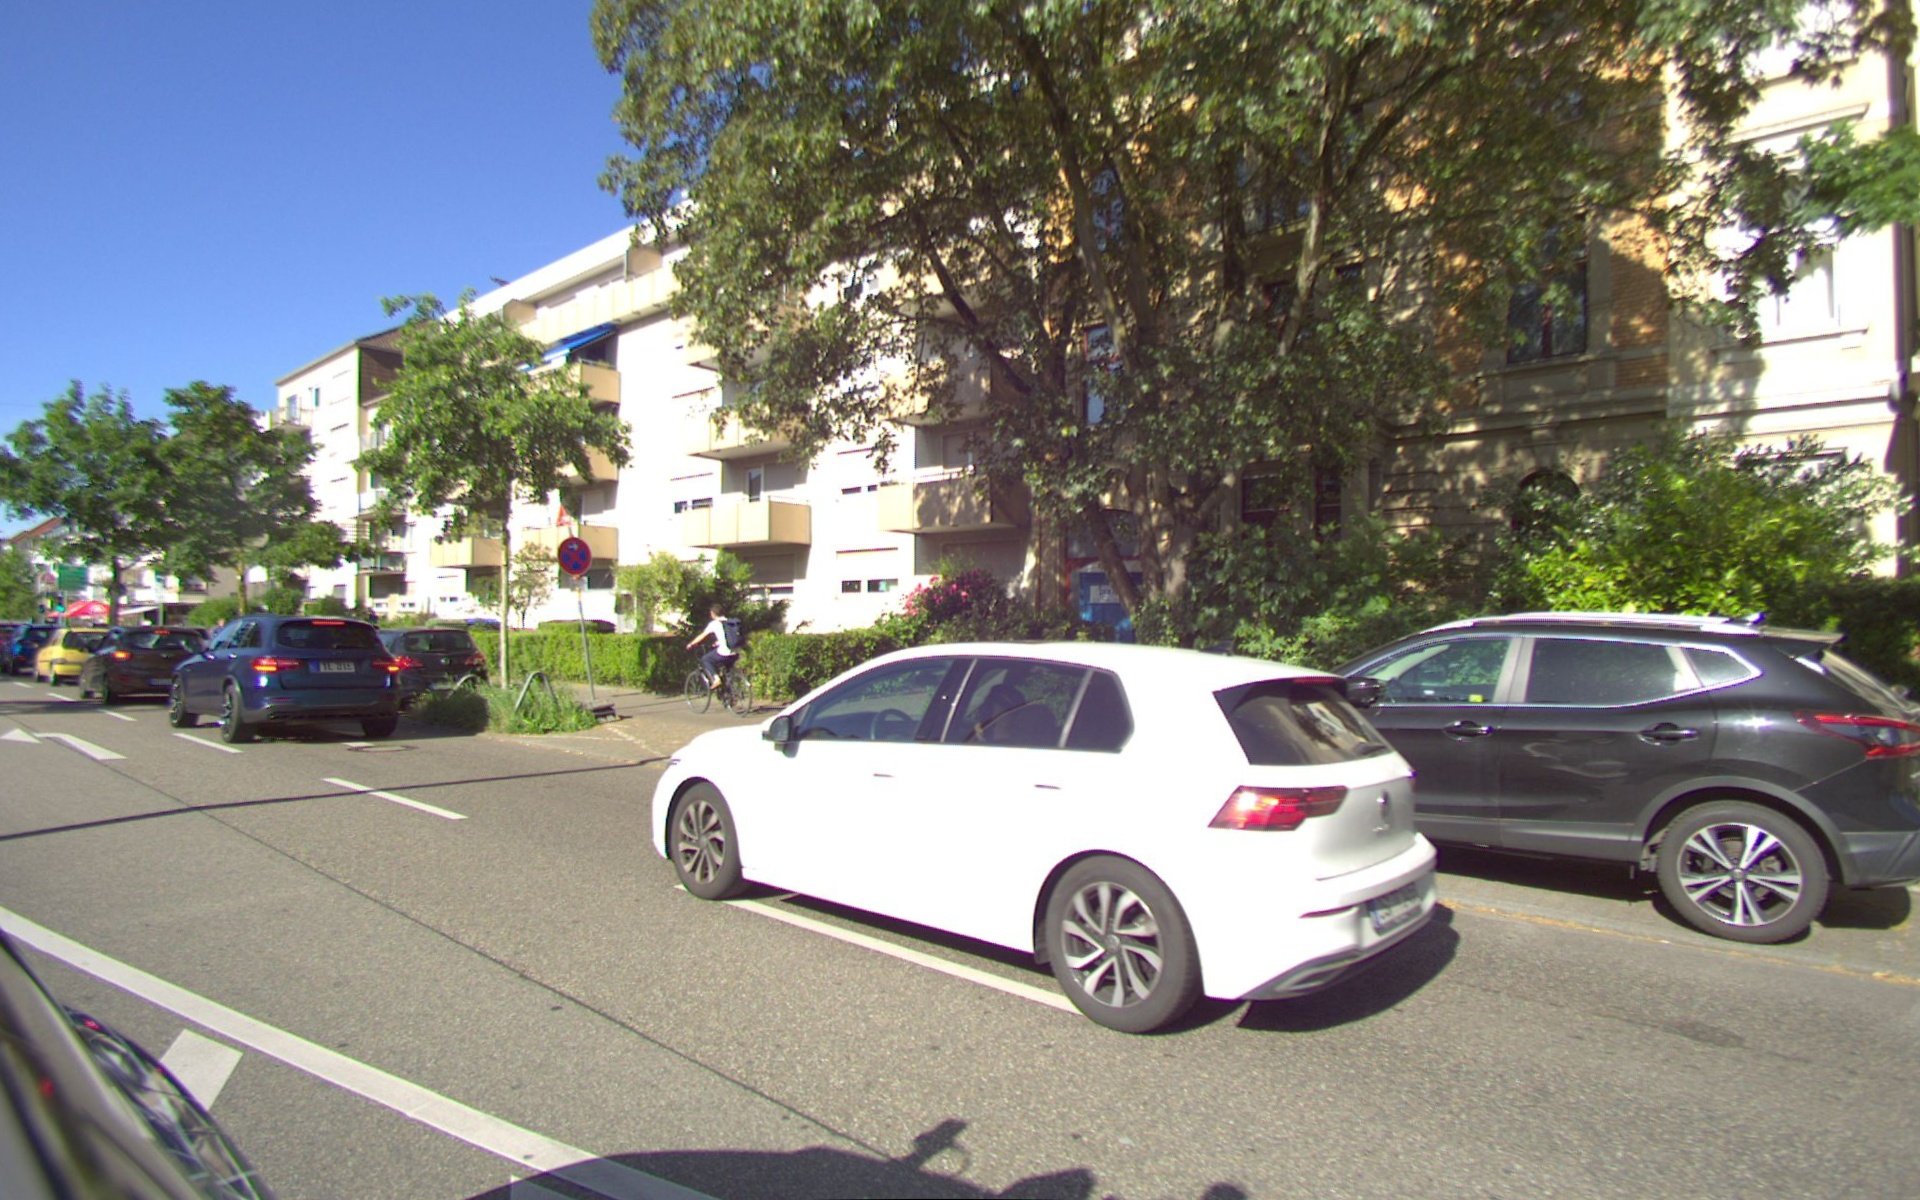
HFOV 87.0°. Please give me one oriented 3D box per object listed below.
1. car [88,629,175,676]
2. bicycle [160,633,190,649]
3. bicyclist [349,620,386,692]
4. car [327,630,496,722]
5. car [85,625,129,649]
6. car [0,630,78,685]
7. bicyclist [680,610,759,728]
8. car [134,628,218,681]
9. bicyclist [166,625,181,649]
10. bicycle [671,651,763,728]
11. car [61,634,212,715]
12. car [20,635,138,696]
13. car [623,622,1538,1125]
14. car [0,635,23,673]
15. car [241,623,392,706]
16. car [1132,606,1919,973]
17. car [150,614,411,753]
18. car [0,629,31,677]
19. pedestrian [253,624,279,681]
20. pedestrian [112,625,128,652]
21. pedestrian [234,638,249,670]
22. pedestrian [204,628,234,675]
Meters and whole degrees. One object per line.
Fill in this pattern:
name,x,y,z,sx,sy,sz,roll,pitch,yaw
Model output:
car,-27.907,1.729,34.050,3.891,1.487,1.489,-2,-2,39
bicycle,-53.208,2.771,68.619,0.449,1.085,1.545,-1,-2,39
bicyclist,-15.000,1.407,25.616,0.691,1.767,0.602,-2,-3,41
car,-10.138,1.311,18.588,3.931,1.488,1.584,-2,-1,43
car,-59.928,2.566,71.076,4.303,1.635,1.741,-1,-3,42
car,-28.041,1.705,30.474,4.074,1.529,1.638,-2,-5,41
bicyclist,-3.794,1.061,15.938,1.207,1.780,0.576,-2,-1,41
car,-23.573,1.598,30.401,3.685,1.501,1.386,-2,-2,42
bicyclist,-53.263,2.505,68.534,0.578,1.620,0.677,-1,-2,39
bicycle,-3.865,1.387,16.004,1.763,1.124,0.444,-2,0,41
car,-16.302,1.411,19.983,3.741,1.463,1.565,-1,-3,40
car,-22.322,1.626,25.609,3.733,1.414,1.618,-1,-4,40
car,0.269,0.871,4.942,4.190,1.423,1.715,-2,-5,41
car,-39.449,2.121,40.911,4.776,1.476,1.794,-1,-4,42
car,-14.057,1.333,22.013,4.393,1.617,1.652,-2,-1,42
car,3.379,0.881,6.269,4.345,1.600,1.608,-2,-1,41
car,-9.479,1.077,13.982,4.398,1.626,1.817,-2,-5,41
car,-34.759,1.880,36.235,4.298,1.629,1.703,-2,-6,42
pedestrian,-20.603,1.549,30.053,0.719,1.663,0.464,-2,-2,42
pedestrian,-51.062,2.331,61.505,0.682,1.671,0.650,-2,-3,42
pedestrian,-26.639,1.995,37.532,0.489,1.169,0.331,-2,-2,40
pedestrian,-27.277,1.895,37.249,0.929,1.699,0.662,-2,-2,40
